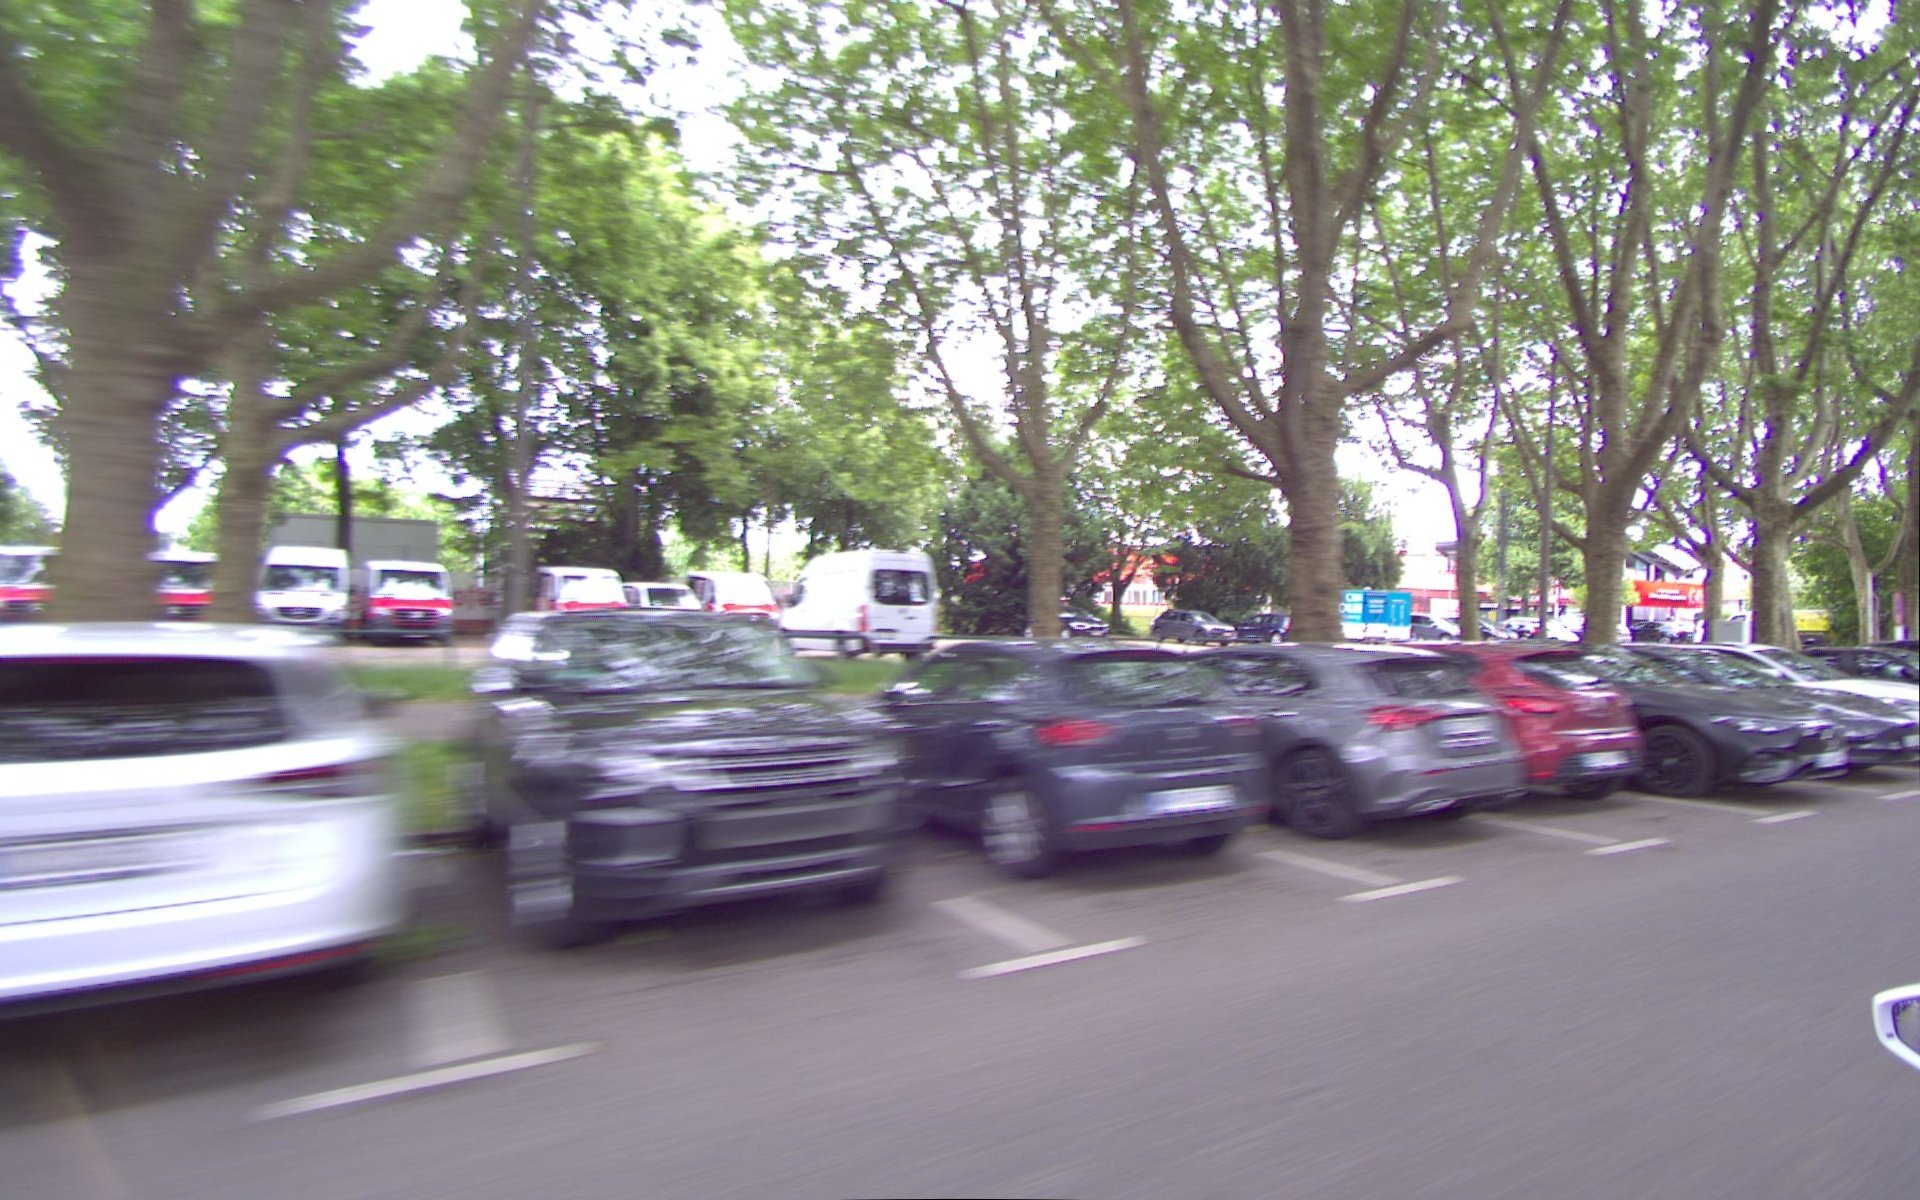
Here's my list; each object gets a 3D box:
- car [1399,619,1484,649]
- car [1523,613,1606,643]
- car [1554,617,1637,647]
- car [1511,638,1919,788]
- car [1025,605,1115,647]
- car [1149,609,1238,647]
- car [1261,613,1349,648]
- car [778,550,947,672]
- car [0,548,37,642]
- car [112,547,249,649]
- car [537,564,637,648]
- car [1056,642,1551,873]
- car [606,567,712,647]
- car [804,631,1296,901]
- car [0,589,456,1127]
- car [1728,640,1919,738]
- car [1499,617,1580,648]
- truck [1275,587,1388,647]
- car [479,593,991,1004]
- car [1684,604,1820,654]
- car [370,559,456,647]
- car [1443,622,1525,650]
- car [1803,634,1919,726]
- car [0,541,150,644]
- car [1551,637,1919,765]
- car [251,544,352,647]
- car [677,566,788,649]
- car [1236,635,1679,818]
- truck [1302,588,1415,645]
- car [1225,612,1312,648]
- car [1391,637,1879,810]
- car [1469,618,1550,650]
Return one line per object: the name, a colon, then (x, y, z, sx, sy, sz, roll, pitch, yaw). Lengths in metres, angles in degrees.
car: (25.112, 1.735, 52.489, 1.518, 1.368, 3.735, 1, 1, -31)
car: (35.529, 1.633, 59.109, 1.669, 1.611, 3.980, 1, 1, -21)
car: (38.212, 1.919, 60.491, 1.669, 1.611, 3.980, 1, 1, -21)
car: (8.894, 1.200, 11.939, 1.676, 1.448, 3.806, 2, -3, -32)
car: (4.426, 1.033, 40.896, 1.659, 1.506, 3.782, 1, 1, -31)
car: (10.288, 1.219, 44.510, 1.659, 1.506, 3.782, 1, 1, -31)
car: (16.463, 1.428, 48.104, 1.693, 1.506, 3.782, 1, 1, -31)
car: (-2.561, 0.201, 24.685, 1.976, 2.632, 5.760, 1, 1, -29)
car: (-24.168, -0.131, 23.878, 1.976, 2.283, 5.973, 1, 1, -30)
car: (-20.122, -0.076, 26.200, 1.976, 2.349, 5.973, 1, 1, -30)
car: (-11.733, 0.138, 31.326, 1.976, 2.361, 5.973, 1, 1, -30)
car: (2.647, 1.107, 8.580, 1.676, 1.448, 3.806, 1, -2, -32)
car: (-9.859, 0.167, 32.523, 1.976, 2.336, 5.973, 1, 1, -30)
car: (0.387, 0.954, 7.504, 1.781, 1.448, 3.808, 1, -2, -31)
car: (-3.467, 0.781, 4.624, 1.676, 1.517, 3.806, 1, -2, -32)
car: (15.067, 1.387, 15.909, 1.676, 1.448, 4.309, 1, -2, -32)
car: (33.196, 1.841, 57.587, 1.519, 1.611, 3.734, 1, 1, -32)
truck: (18.489, 0.795, 50.241, 1.905, 2.779, 5.288, 1, 1, -29)
car: (-1.638, 0.850, 6.108, 1.839, 1.629, 3.805, 1, -2, -33)
car: (39.098, 1.384, 49.750, 1.518, 2.262, 5.051, 1, 1, -31)
car: (-15.978, 0.040, 29.263, 1.976, 2.270, 5.973, 1, 1, -30)
car: (28.841, 1.952, 55.337, 1.519, 1.368, 3.734, 1, 1, -32)
car: (17.313, 1.378, 17.431, 1.676, 1.575, 3.806, 1, -2, -32)
car: (-22.148, -0.205, 25.113, 1.976, 2.283, 5.973, 1, 1, -30)
car: (10.725, 1.236, 13.651, 1.676, 1.448, 4.377, 1, -2, -32)
car: (-18.321, -0.152, 28.185, 1.976, 2.561, 5.973, 1, 1, -30)
car: (-7.830, 0.195, 34.056, 1.976, 2.561, 5.973, 1, 1, -30)
car: (4.729, 1.089, 10.163, 1.672, 1.448, 3.815, 1, -2, -25)
truck: (20.589, 0.811, 52.197, 2.180, 2.779, 5.212, 1, 1, -30)
car: (14.391, 1.363, 47.042, 1.659, 1.506, 3.782, 1, 1, -31)
car: (6.891, 1.131, 10.707, 1.676, 1.448, 3.999, 1, -2, -32)
car: (30.888, 1.893, 56.538, 1.519, 1.611, 3.734, 1, 1, -32)
